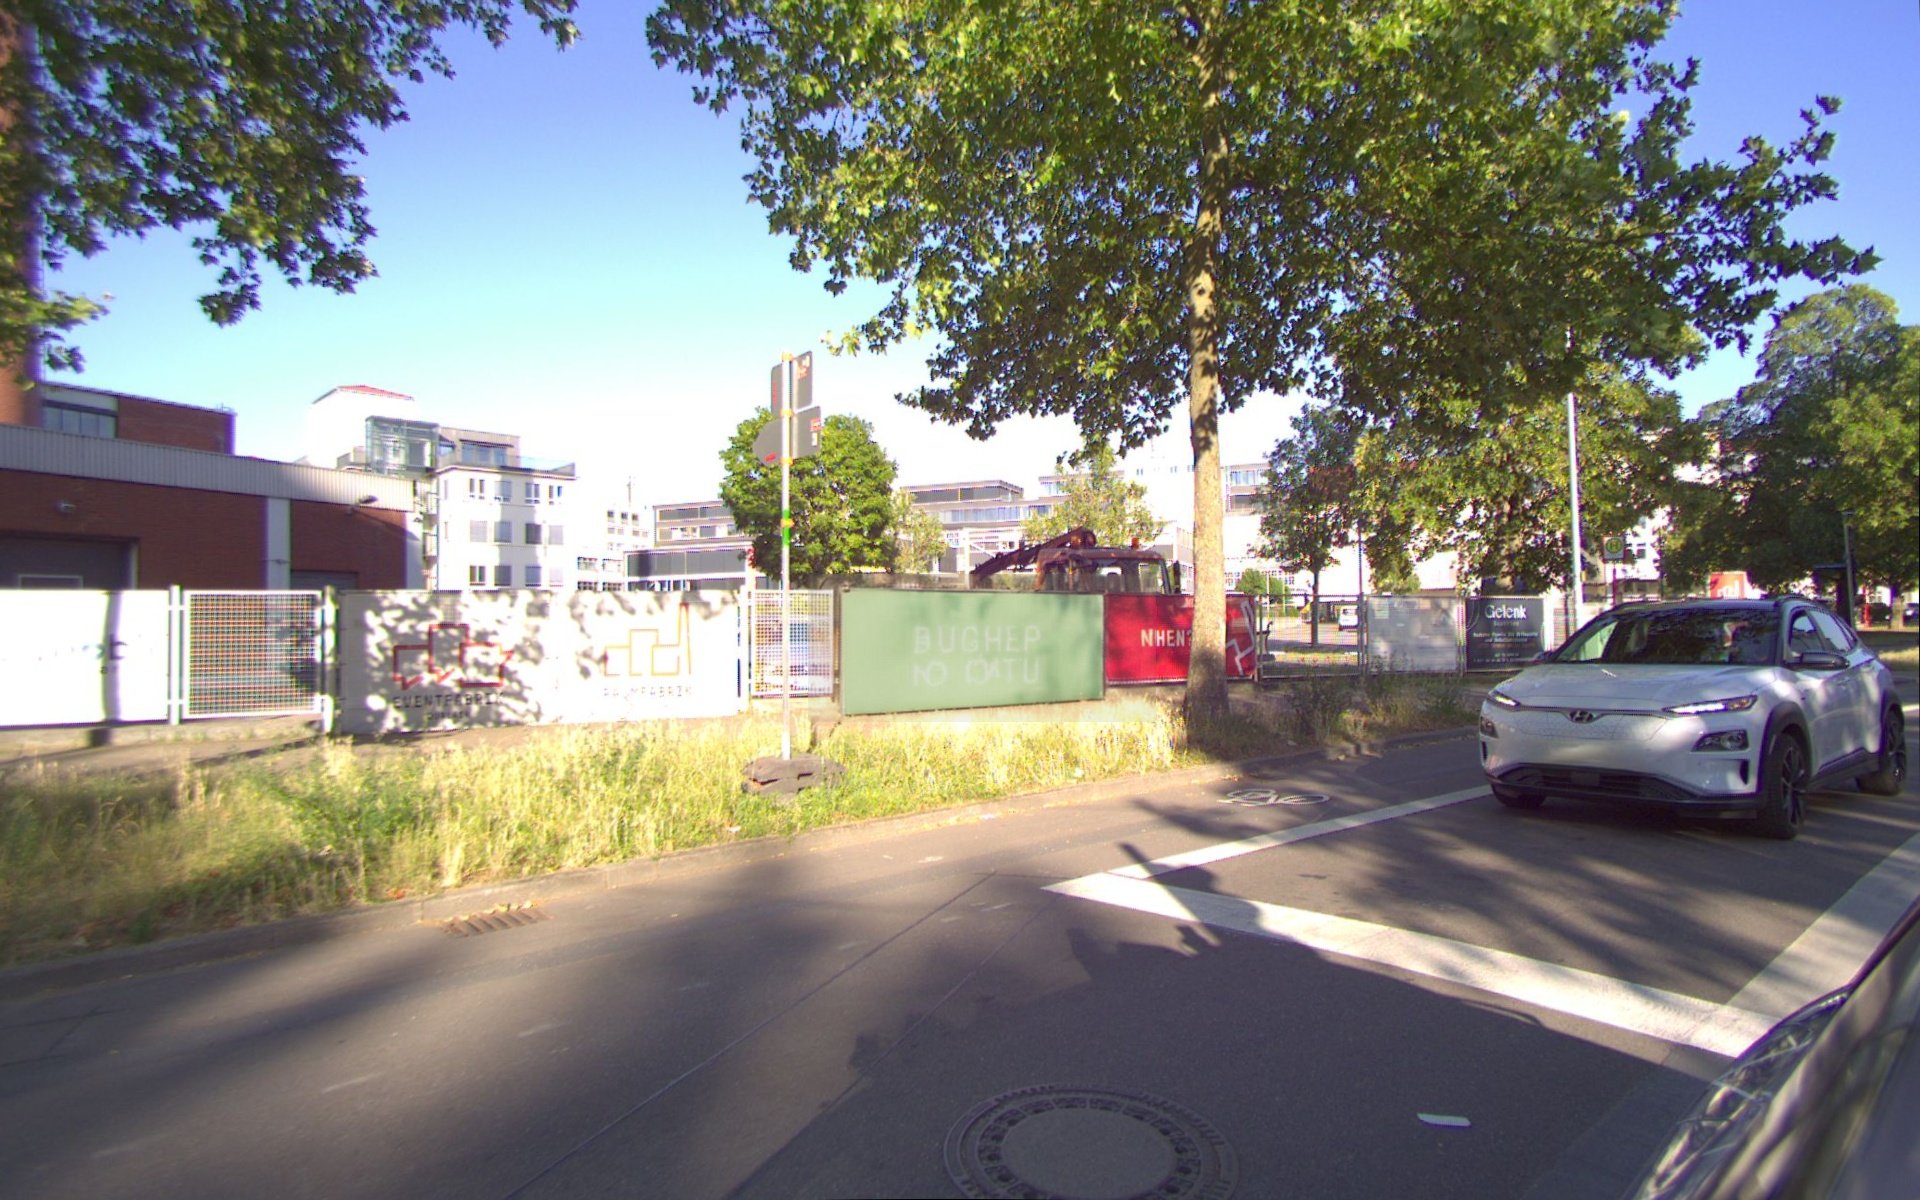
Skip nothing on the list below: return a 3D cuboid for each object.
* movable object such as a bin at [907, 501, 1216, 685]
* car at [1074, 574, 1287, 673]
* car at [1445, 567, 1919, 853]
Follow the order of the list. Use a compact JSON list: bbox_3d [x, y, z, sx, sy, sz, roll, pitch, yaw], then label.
[{"bbox_3d":[1.748,-0.060,20.522,3.153,3.088,6.296,-1,-1,-29],"label":"movable object such as a bin"},{"bbox_3d":[4.537,0.490,21.628,2.001,1.852,4.612,-1,-1,-25],"label":"car"},{"bbox_3d":[5.621,0.707,7.673,3.891,1.618,1.894,2,-3,-37],"label":"car"}]
